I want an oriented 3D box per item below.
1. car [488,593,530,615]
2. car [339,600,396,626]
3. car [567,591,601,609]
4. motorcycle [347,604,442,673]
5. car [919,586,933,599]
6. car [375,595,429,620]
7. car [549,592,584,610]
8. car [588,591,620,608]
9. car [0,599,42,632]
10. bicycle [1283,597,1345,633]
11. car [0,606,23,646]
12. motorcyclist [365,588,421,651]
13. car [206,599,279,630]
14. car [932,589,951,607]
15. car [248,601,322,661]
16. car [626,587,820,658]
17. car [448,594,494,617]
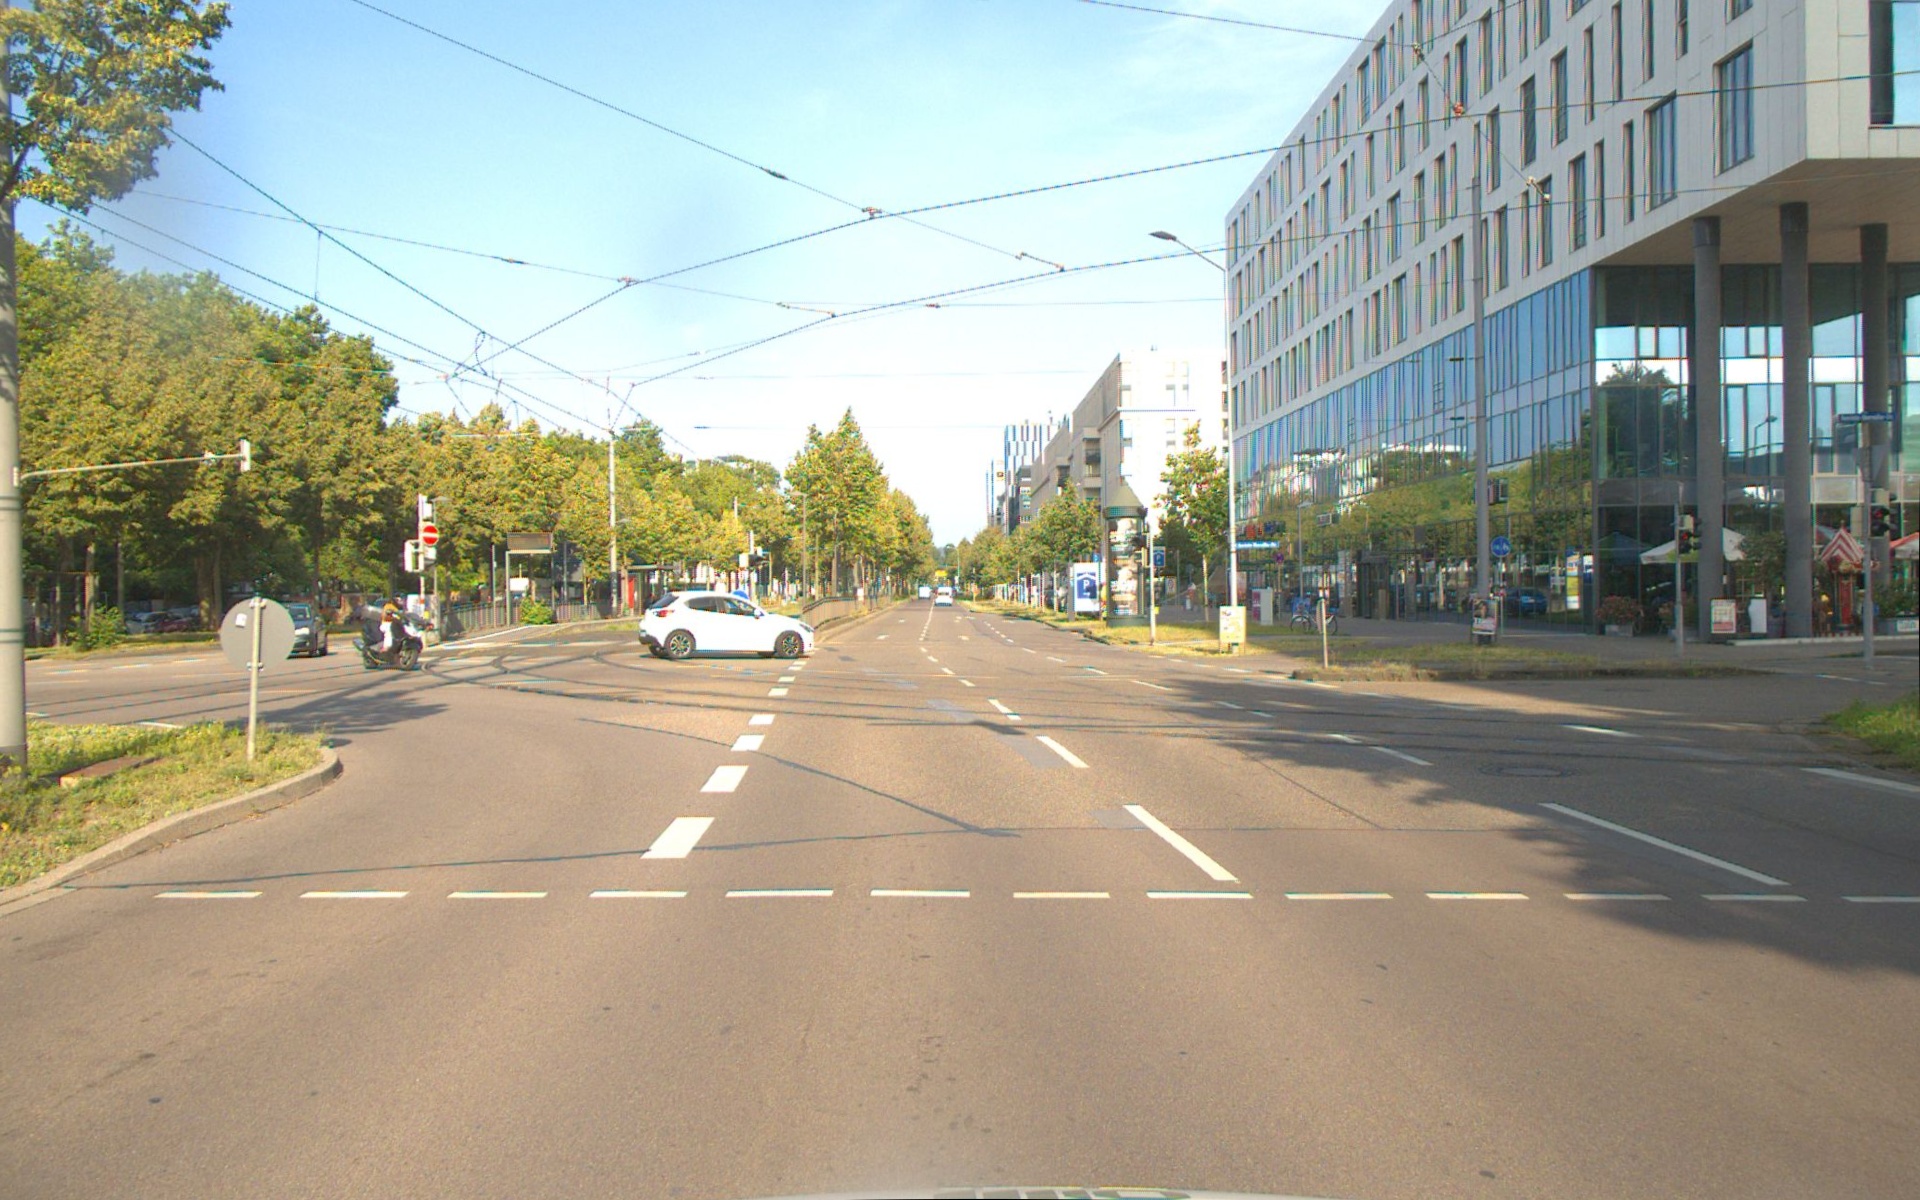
[{"bbox_3d":[-35.038,0.302,128.545,1.841,1.586,4.002,-1,0,4],"label":"car"},{"bbox_3d":[-36.883,0.796,103.034,1.841,1.586,4.002,-1,0,4],"label":"car"},{"bbox_3d":[-33.854,0.010,148.985,1.841,1.586,4.002,-1,0,4],"label":"car"},{"bbox_3d":[-11.327,0.751,33.083,0.815,1.285,2.508,0,1,-44],"label":"motorcycle"},{"bbox_3d":[-4.899,-1.083,239.372,1.973,1.713,4.000,1,1,0],"label":"car"},{"bbox_3d":[-36.452,0.473,108.120,1.841,1.586,4.002,-1,0,4],"label":"car"},{"bbox_3d":[-34.338,0.080,144.480,1.841,1.586,4.002,-1,0,4],"label":"car"},{"bbox_3d":[-33.412,-0.072,155.416,1.841,1.586,4.002,-1,0,4],"label":"car"},{"bbox_3d":[-46.662,0.765,80.211,1.841,1.586,4.002,-1,0,4],"label":"car"},{"bbox_3d":[11.358,0.468,53.132,0.768,1.050,1.848,-1,3,-44],"label":"bicycle"},{"bbox_3d":[-39.334,1.059,65.578,1.841,1.586,4.002,-1,0,4],"label":"car"},{"bbox_3d":[-11.349,0.375,33.102,0.779,1.224,0.834,0,1,-45],"label":"motorcyclist"},{"bbox_3d":[-38.129,0.768,87.990,1.841,1.586,4.002,-1,0,4],"label":"car"},{"bbox_3d":[-1.844,-0.250,164.013,1.826,1.713,4.000,1,1,0],"label":"car"},{"bbox_3d":[-18.235,0.794,44.608,1.706,1.487,4.541,-2,0,-23],"label":"car"},{"bbox_3d":[-5.402,0.505,37.658,4.025,1.530,1.986,1,0,-24],"label":"car"},{"bbox_3d":[-35.621,0.404,120.614,1.841,1.586,4.002,-1,0,4],"label":"car"}]
